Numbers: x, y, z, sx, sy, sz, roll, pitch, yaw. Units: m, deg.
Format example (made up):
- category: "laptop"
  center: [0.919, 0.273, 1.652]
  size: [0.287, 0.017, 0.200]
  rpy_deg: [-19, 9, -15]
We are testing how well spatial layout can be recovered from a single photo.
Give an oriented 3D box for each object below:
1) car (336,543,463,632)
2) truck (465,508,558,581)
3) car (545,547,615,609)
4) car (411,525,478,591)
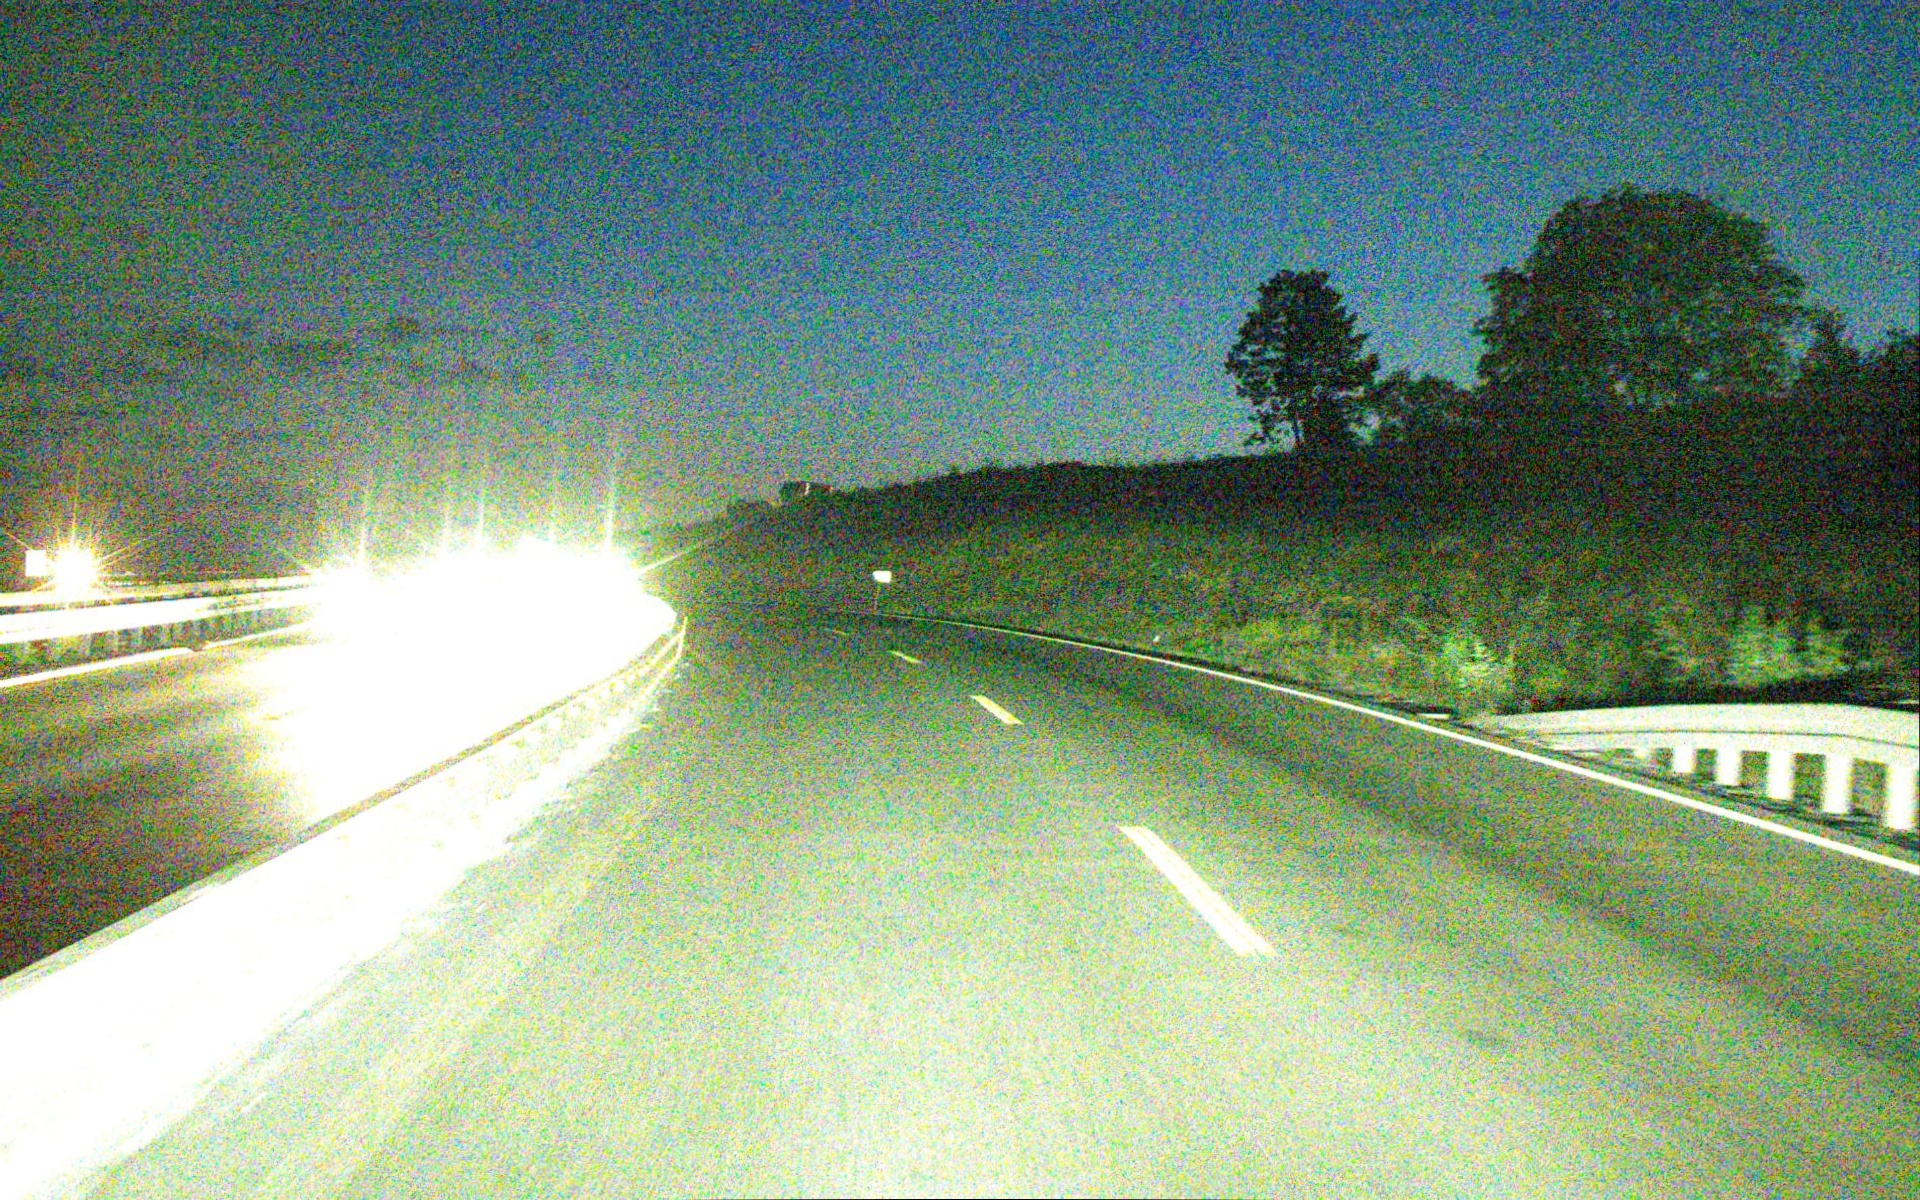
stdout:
- category: "car"
  center: [-9.079, -0.209, 55.934]
  size: [1.716, 1.375, 4.244]
  rpy_deg: [1, 0, -5]
- category: "truck"
  center: [-29.286, -3.546, 223.763]
  size: [4.010, 4.536, 13.958]
  rpy_deg: [-1, 0, -16]
- category: "car"
  center: [-9.315, -0.535, 84.095]
  size: [1.651, 1.464, 4.001]
  rpy_deg: [-1, 0, -7]
- category: "car"
  center: [-16.184, -1.299, 108.127]
  size: [1.993, 2.007, 5.588]
  rpy_deg: [-1, 0, -8]
